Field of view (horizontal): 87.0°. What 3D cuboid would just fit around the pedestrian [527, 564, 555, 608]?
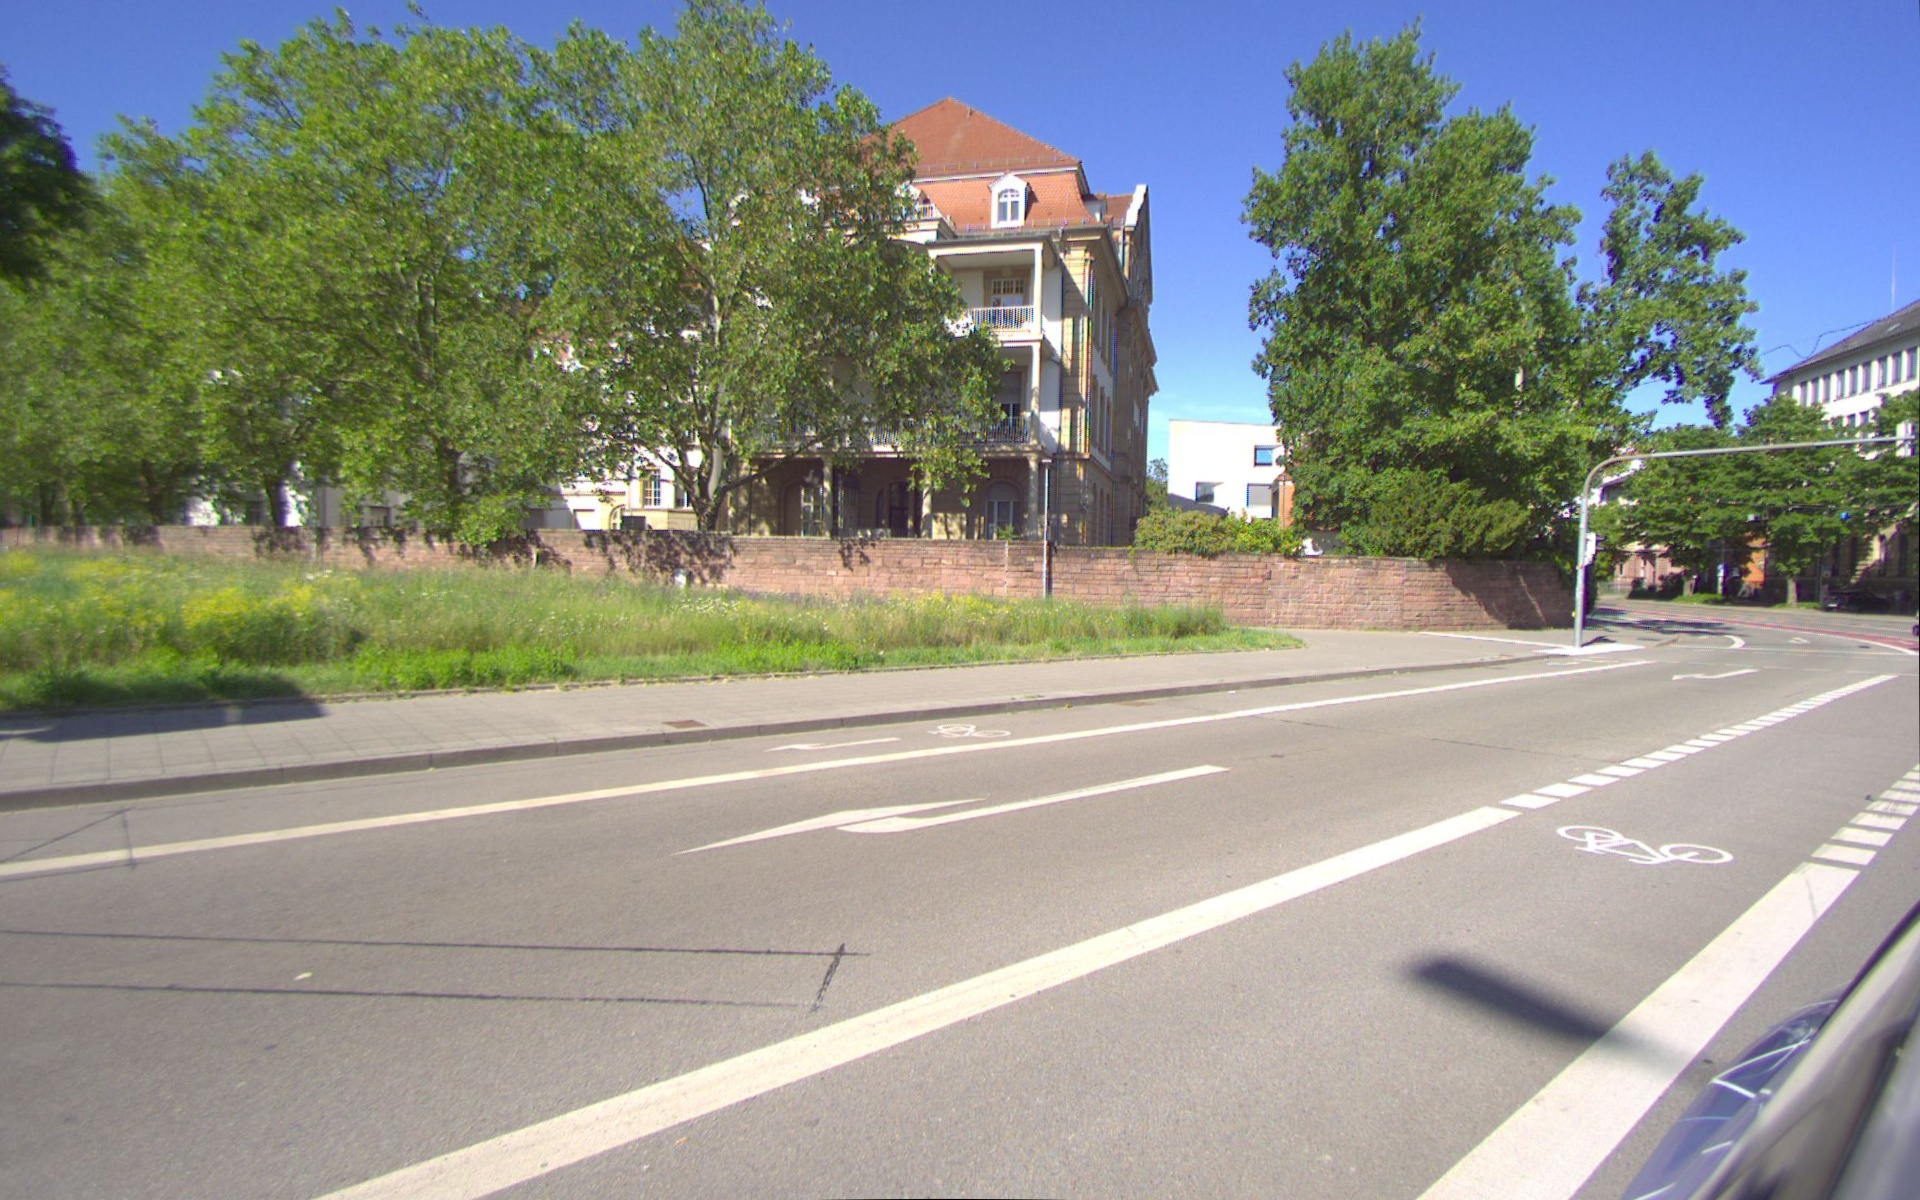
[{"bbox_3d":[-13.845,-0.461,33.454,0.516,1.461,0.721,0,0,20],"label":"pedestrian"}]

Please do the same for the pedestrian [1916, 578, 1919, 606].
[{"bbox_3d":[64.061,-0.526,67.297,0.514,1.899,0.360,1,1,16],"label":"pedestrian"}]

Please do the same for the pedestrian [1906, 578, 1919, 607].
[{"bbox_3d":[63.442,-0.480,67.389,0.514,1.916,0.360,1,1,16],"label":"pedestrian"}]

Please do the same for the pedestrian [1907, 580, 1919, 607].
[{"bbox_3d":[63.639,-0.425,67.365,0.670,1.744,0.584,1,3,27],"label":"pedestrian"}]

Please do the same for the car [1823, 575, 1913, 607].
[{"bbox_3d":[61.204,-0.642,68.245,4.615,2.038,2.004,1,2,-9],"label":"car"}]
